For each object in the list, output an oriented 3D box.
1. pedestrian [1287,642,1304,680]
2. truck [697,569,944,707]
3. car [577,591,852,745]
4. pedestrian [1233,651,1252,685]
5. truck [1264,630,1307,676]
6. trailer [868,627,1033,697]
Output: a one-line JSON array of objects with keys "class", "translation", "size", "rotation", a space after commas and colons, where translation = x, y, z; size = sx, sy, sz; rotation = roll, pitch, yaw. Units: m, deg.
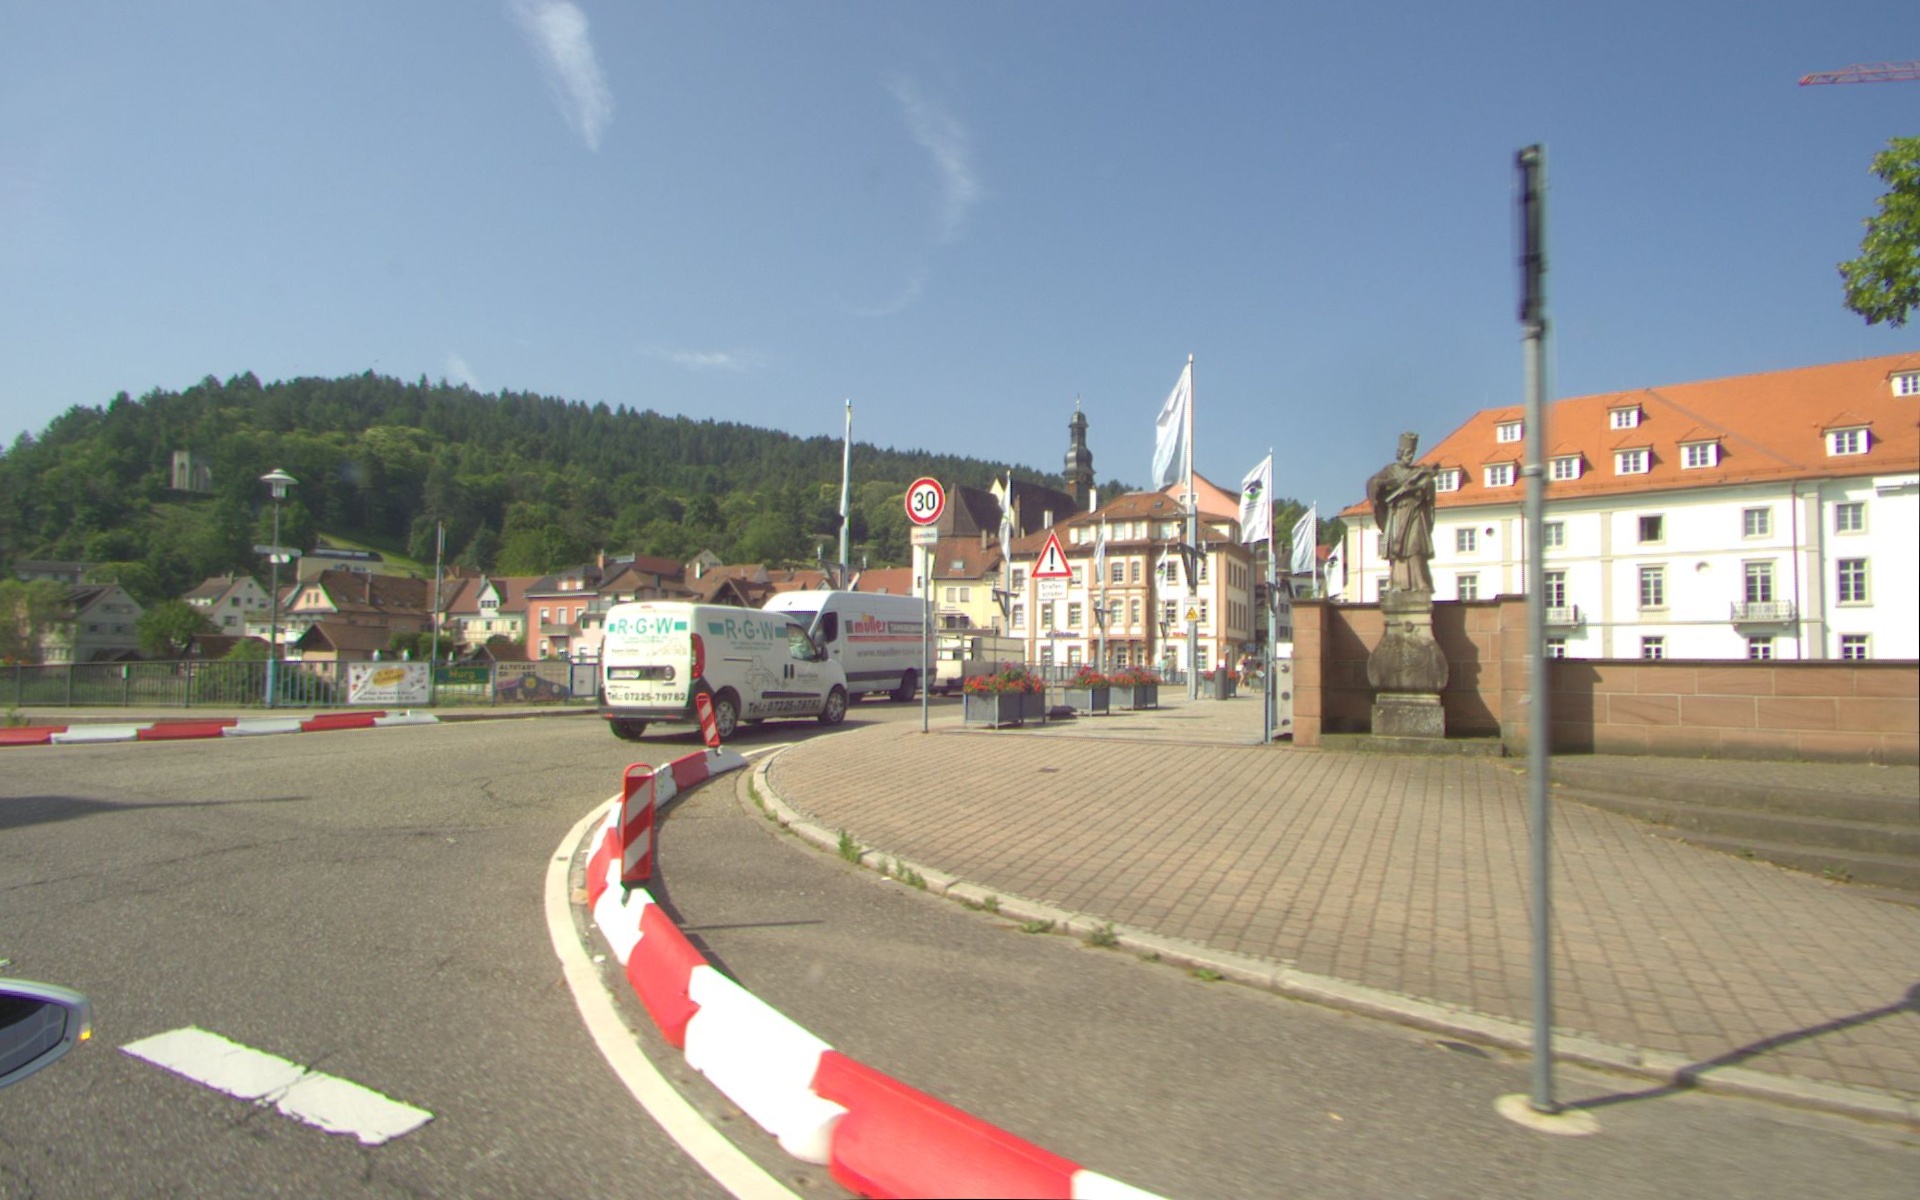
[{"class": "pedestrian", "translation": [14.770, 2.678, 44.100], "size": [0.555, 1.638, 0.665], "rotation": [0, -2, 33]}, {"class": "truck", "translation": [-2.937, 0.999, 23.543], "size": [2.079, 2.731, 7.113], "rotation": [-1, -4, 27]}, {"class": "car", "translation": [-3.422, 0.935, 14.910], "size": [1.818, 1.930, 4.307], "rotation": [0, -2, 21]}, {"class": "pedestrian", "translation": [14.866, 3.580, 52.675], "size": [0.719, 1.744, 0.743], "rotation": [-1, -3, 37]}, {"class": "truck", "translation": [19.492, 3.173, 59.834], "size": [1.837, 2.617, 4.249], "rotation": [0, -4, 26]}, {"class": "trailer", "translation": [-0.116, 1.781, 29.326], "size": [2.578, 1.850, 5.620], "rotation": [-1, -3, 26]}]
